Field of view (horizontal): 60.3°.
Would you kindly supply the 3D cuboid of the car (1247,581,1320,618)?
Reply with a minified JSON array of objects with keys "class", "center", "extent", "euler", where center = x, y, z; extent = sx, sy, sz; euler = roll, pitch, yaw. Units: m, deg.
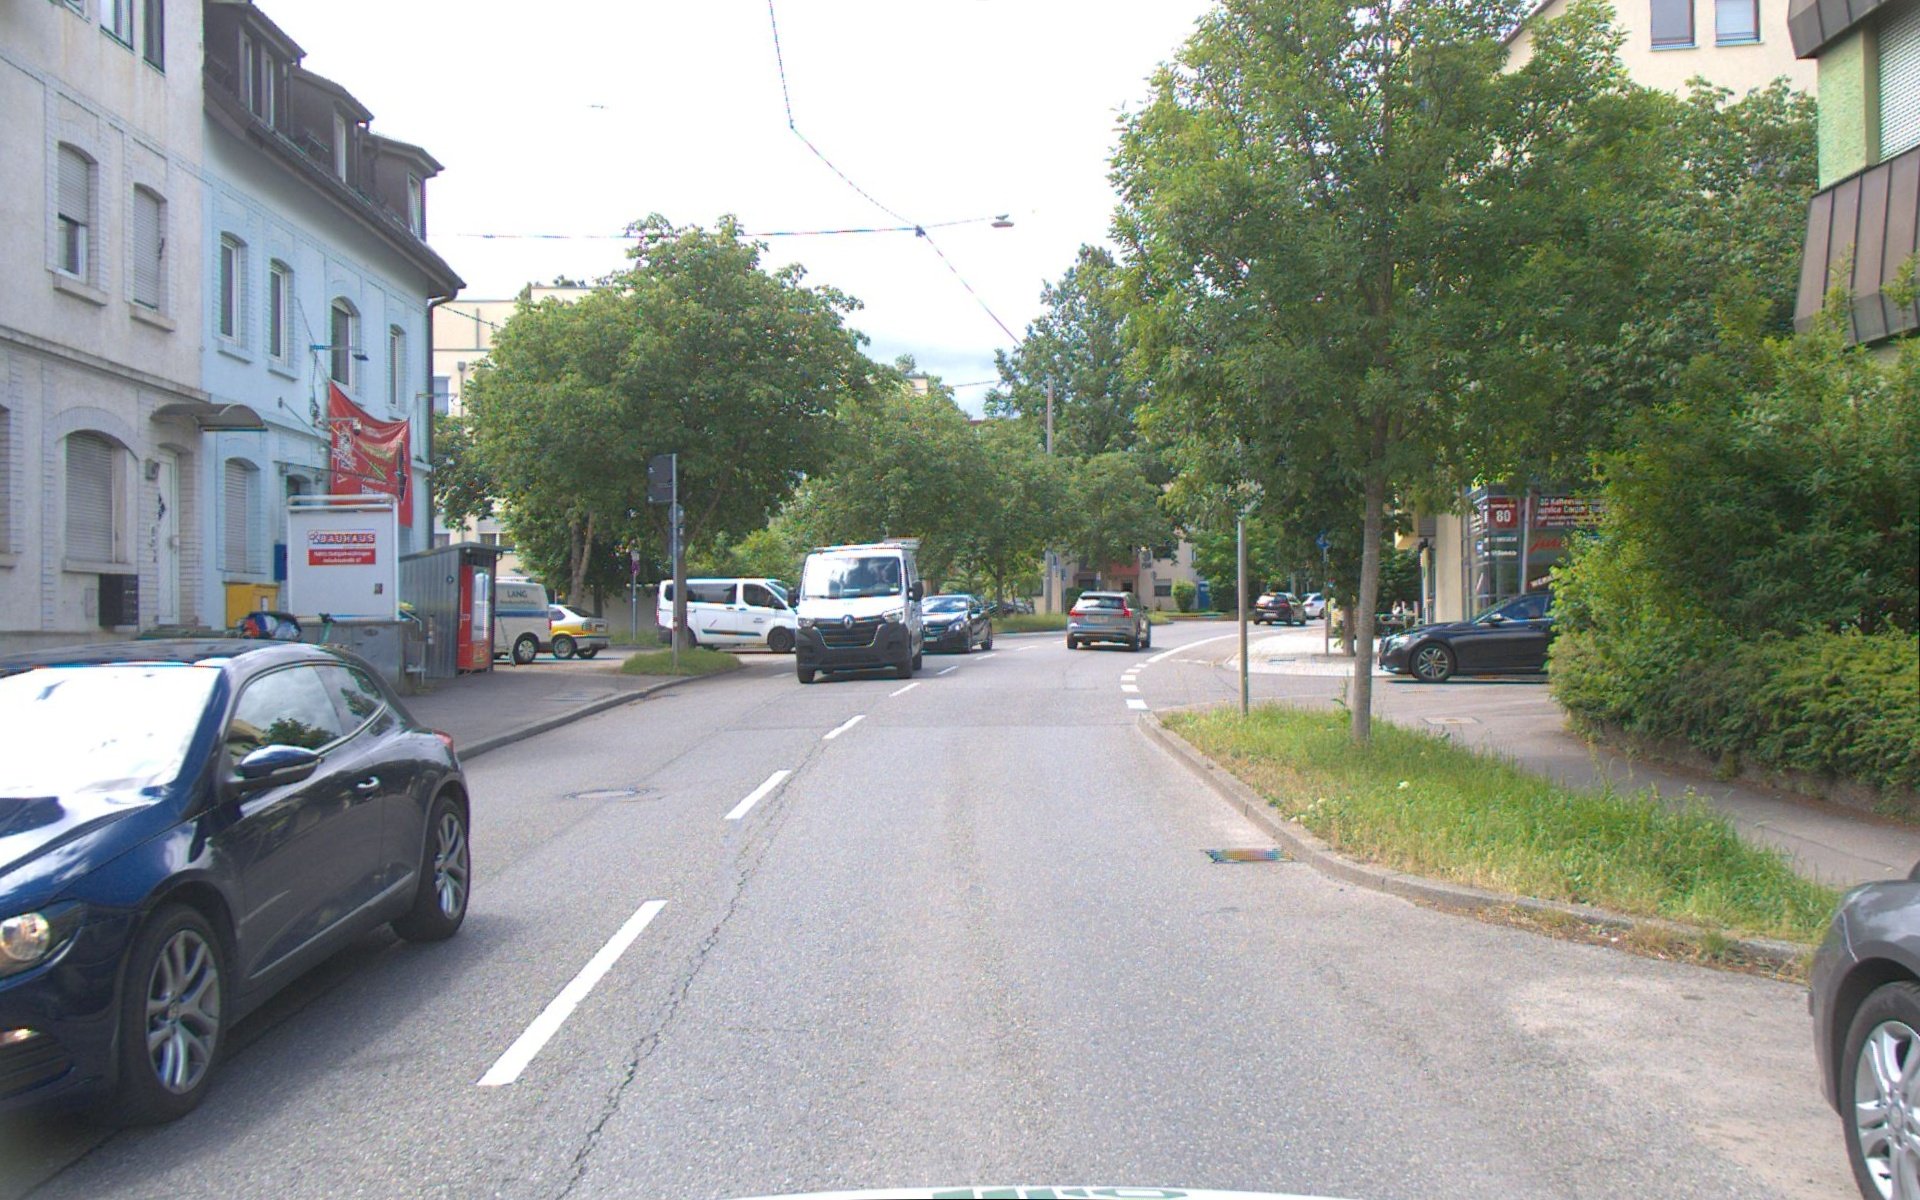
[{"class":"car","center":[14.486,-0.058,73.854],"extent":[1.772,1.549,4.319],"euler":[2,2,32]}]

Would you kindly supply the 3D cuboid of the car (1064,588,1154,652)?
[{"class":"car","center":[3.957,0.481,43.352],"extent":[1.914,1.550,4.333],"euler":[0,1,11]}]

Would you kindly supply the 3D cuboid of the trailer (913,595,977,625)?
[{"class":"trailer","center":[-0.962,0.642,106.789],"extent":[3.823,1.830,1.632],"euler":[0,-4,12]}]

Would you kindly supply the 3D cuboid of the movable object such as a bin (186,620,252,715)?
[{"class":"movable object such as a bin","center":[-8.963,0.809,20.013],"extent":[0.553,1.120,0.562],"euler":[1,-1,-5]}]

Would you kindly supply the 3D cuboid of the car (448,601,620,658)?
[{"class":"car","center":[-11.068,0.773,43.077],"extent":[3.930,1.438,1.817],"euler":[-1,-1,11]}]

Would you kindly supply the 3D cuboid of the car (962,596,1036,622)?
[{"class":"car","center":[2.280,0.517,96.701],"extent":[3.991,1.424,1.796],"euler":[0,-4,15]}]

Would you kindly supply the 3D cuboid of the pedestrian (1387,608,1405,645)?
[{"class":"pedestrian","center":[14.467,0.866,54.874],"extent":[0.564,1.225,0.503],"euler":[0,-1,16]}]

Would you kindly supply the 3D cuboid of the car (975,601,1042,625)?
[{"class":"car","center":[3.100,0.829,105.673],"extent":[3.991,1.424,1.796],"euler":[0,-4,15]}]

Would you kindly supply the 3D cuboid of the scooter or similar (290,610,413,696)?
[{"class":"scooter or similar","center":[-8.640,0.754,23.514],"extent":[1.522,1.205,0.546],"euler":[0,-1,-1]}]

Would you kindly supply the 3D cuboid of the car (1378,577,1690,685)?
[{"class":"car","center":[9.220,0.484,26.923],"extent":[4.571,1.657,1.812],"euler":[0,-1,10]}]

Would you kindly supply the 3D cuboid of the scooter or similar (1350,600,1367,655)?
[{"class":"scooter or similar","center":[9.856,0.680,40.889],"extent":[0.373,1.339,1.460],"euler":[0,-1,12]}]

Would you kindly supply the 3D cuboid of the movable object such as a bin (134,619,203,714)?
[{"class":"movable object such as a bin","center":[-9.536,0.798,19.943],"extent":[0.553,1.120,0.562],"euler":[1,-1,-5]}]

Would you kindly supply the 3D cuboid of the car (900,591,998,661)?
[{"class":"car","center":[-0.225,0.607,40.832],"extent":[1.651,1.508,4.230],"euler":[-4,-1,9]}]

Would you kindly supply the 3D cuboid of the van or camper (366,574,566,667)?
[{"class":"van or camper","center":[-11.475,0.484,38.688],"extent":[1.754,2.028,4.365],"euler":[-1,-1,34]}]

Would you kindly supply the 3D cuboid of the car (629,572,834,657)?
[{"class":"car","center":[-6.267,0.390,45.548],"extent":[5.103,2.028,2.110],"euler":[-3,0,18]}]

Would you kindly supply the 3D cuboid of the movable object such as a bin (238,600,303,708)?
[{"class":"movable object such as a bin","center":[-8.372,0.647,20.104],"extent":[0.553,1.295,0.562],"euler":[1,0,-5]}]

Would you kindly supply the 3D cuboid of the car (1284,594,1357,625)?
[{"class":"car","center":[20.696,0.538,94.824],"extent":[4.287,1.644,1.785],"euler":[2,0,-40]}]

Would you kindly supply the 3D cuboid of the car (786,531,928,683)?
[{"class":"car","center":[-1.772,0.092,30.132],"extent":[2.021,2.394,5.184],"euler":[-4,0,1]}]

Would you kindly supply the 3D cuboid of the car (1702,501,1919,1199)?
[{"class":"car","center":[3.070,0.614,2.801],"extent":[1.655,1.695,4.463],"euler":[-1,1,1]}]

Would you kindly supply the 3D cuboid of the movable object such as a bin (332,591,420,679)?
[{"class":"movable object such as a bin","center":[-9.374,0.555,26.614],"extent":[0.999,1.378,1.246],"euler":[0,-1,-3]}]

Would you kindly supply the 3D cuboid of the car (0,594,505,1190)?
[{"class":"car","center":[-3.135,0.758,6.087],"extent":[1.734,1.450,4.109],"euler":[-3,0,0]}]
